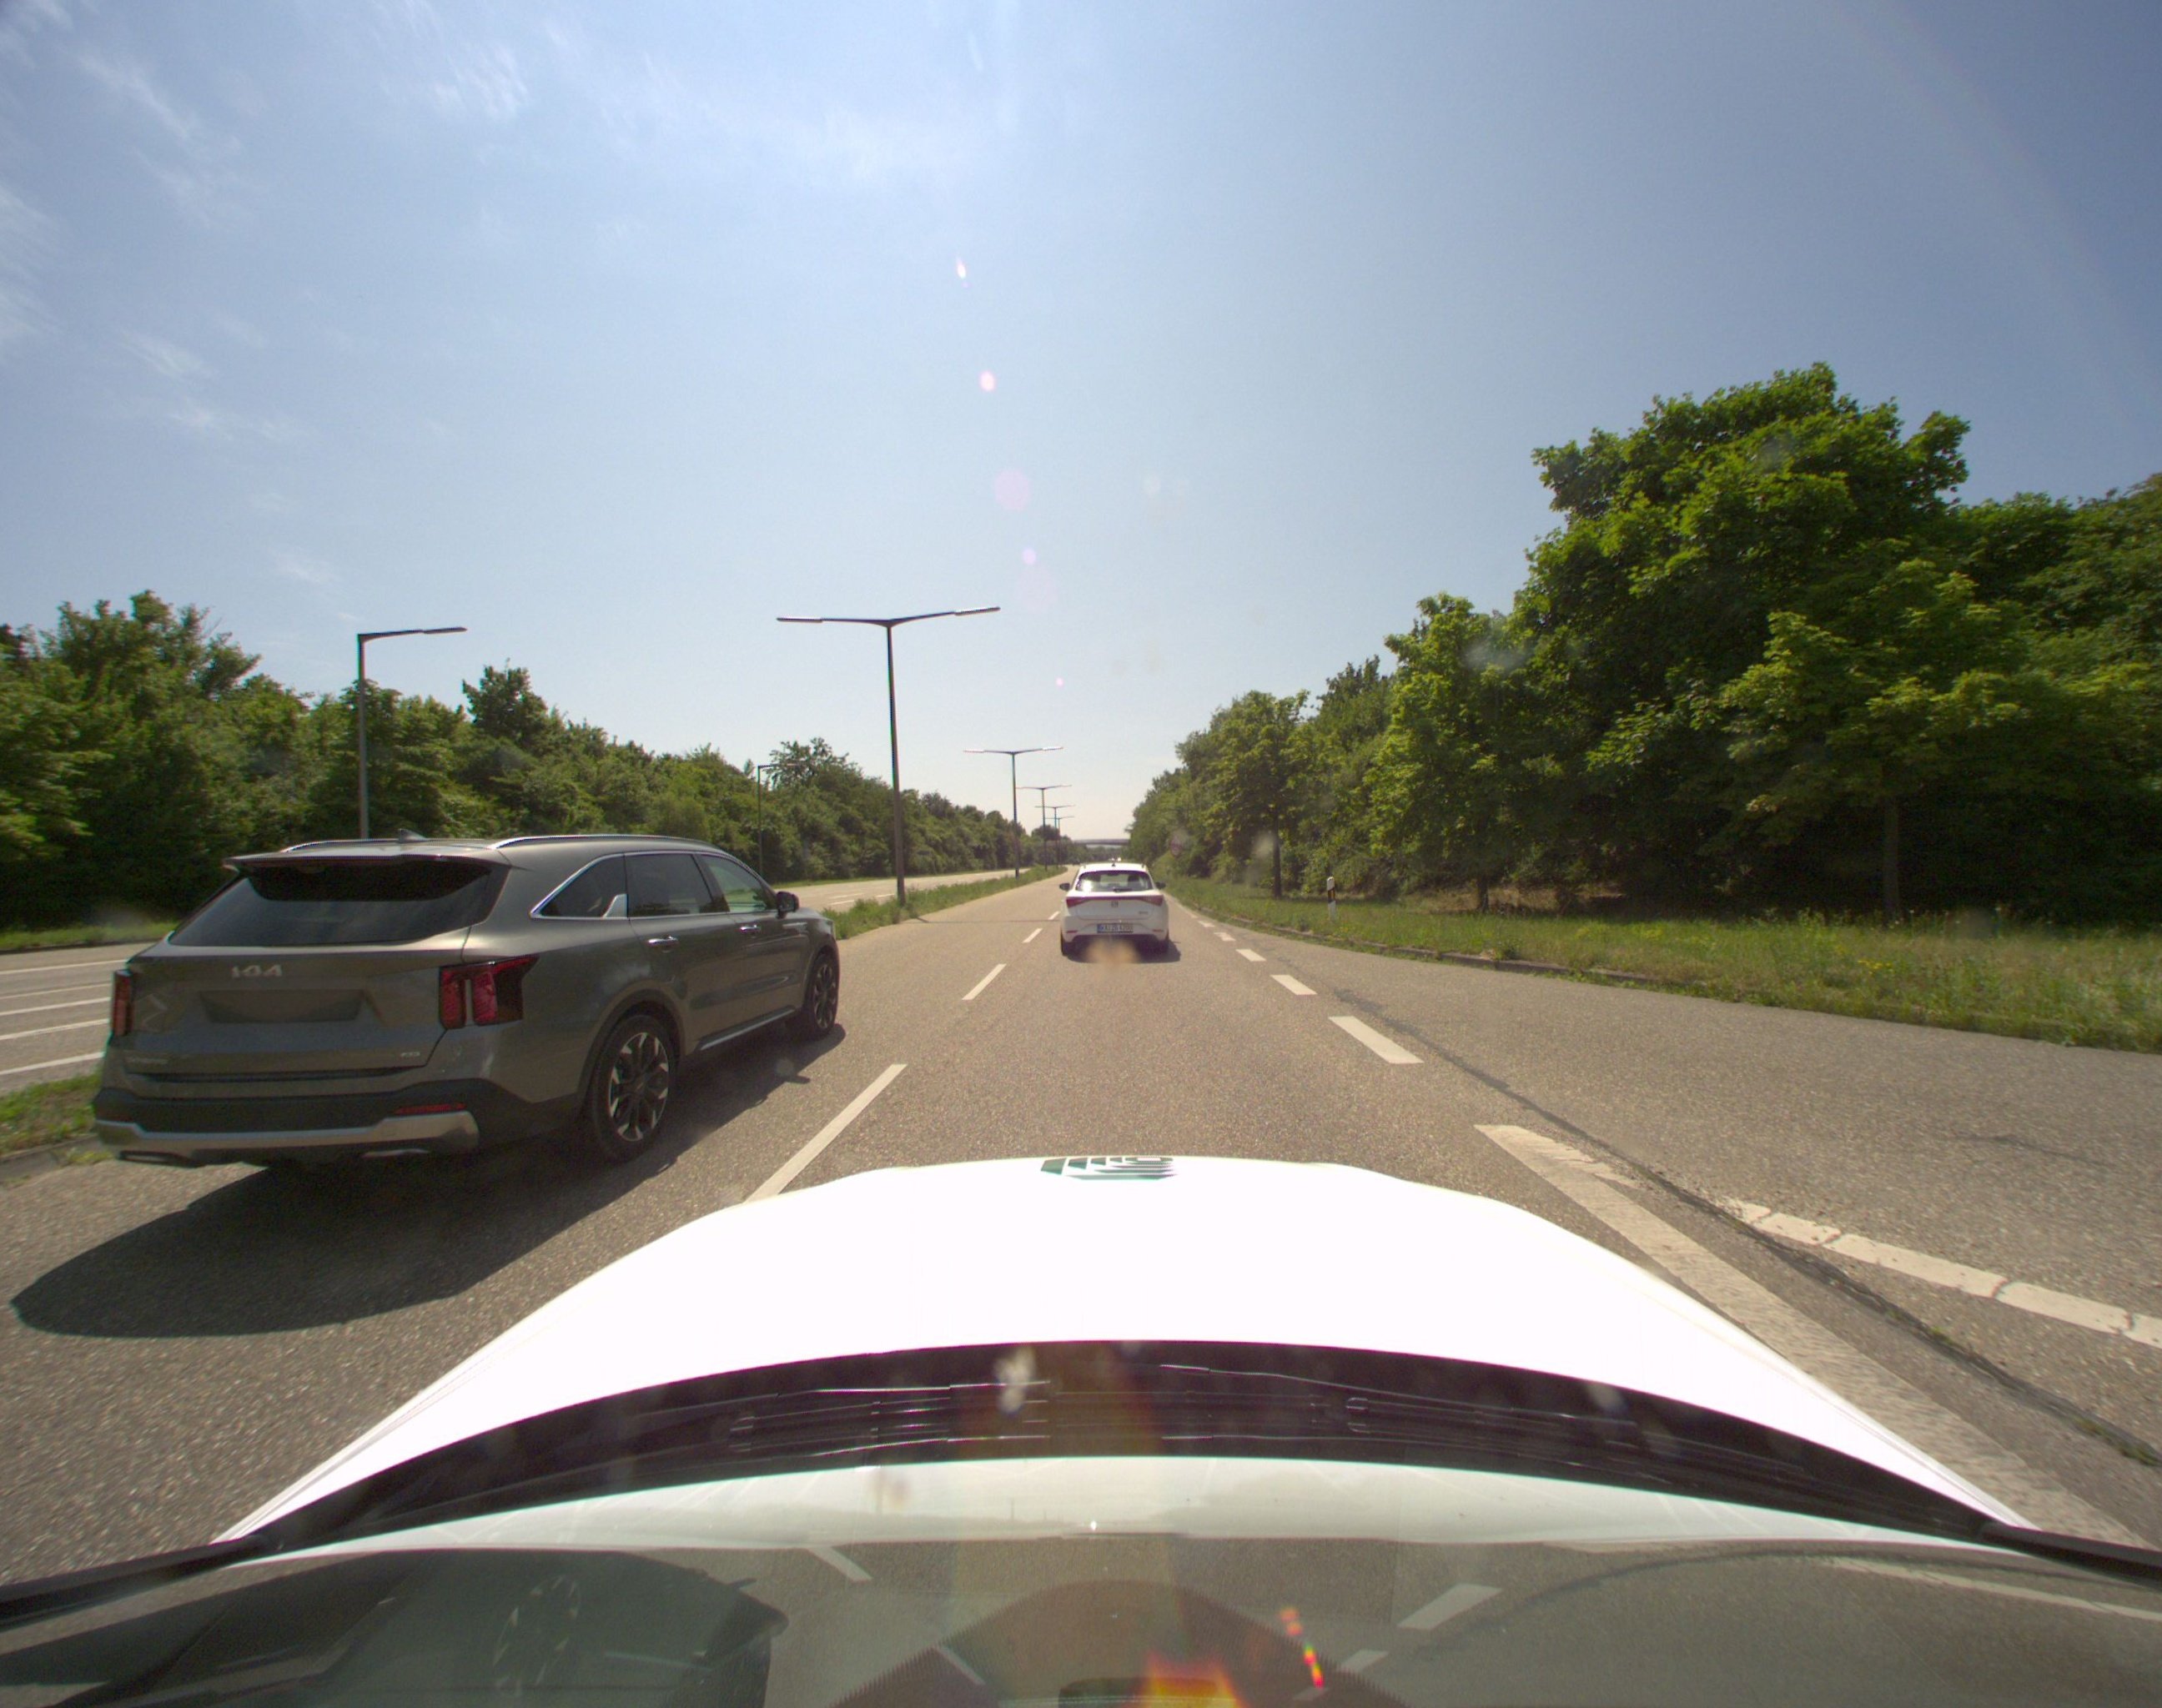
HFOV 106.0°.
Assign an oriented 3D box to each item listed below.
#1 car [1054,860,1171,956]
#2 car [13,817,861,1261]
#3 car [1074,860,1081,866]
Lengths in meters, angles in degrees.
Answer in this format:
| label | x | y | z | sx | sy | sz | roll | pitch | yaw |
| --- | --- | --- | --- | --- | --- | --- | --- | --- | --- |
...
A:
| label | x | y | z | sx | sy | sz | roll | pitch | yaw |
| --- | --- | --- | --- | --- | --- | --- | --- | --- | --- |
| car | 0.557 | 0.837 | 13.971 | 1.727 | 1.428 | 3.697 | 0 | -1 | 3 |
| car | -3.121 | 0.734 | 5.449 | 1.796 | 1.662 | 4.647 | -2 | -1 | 3 |
| car | -1.068 | 2.574 | 239.798 | 1.849 | 1.709 | 3.999 | -1 | 0 | -1 |
